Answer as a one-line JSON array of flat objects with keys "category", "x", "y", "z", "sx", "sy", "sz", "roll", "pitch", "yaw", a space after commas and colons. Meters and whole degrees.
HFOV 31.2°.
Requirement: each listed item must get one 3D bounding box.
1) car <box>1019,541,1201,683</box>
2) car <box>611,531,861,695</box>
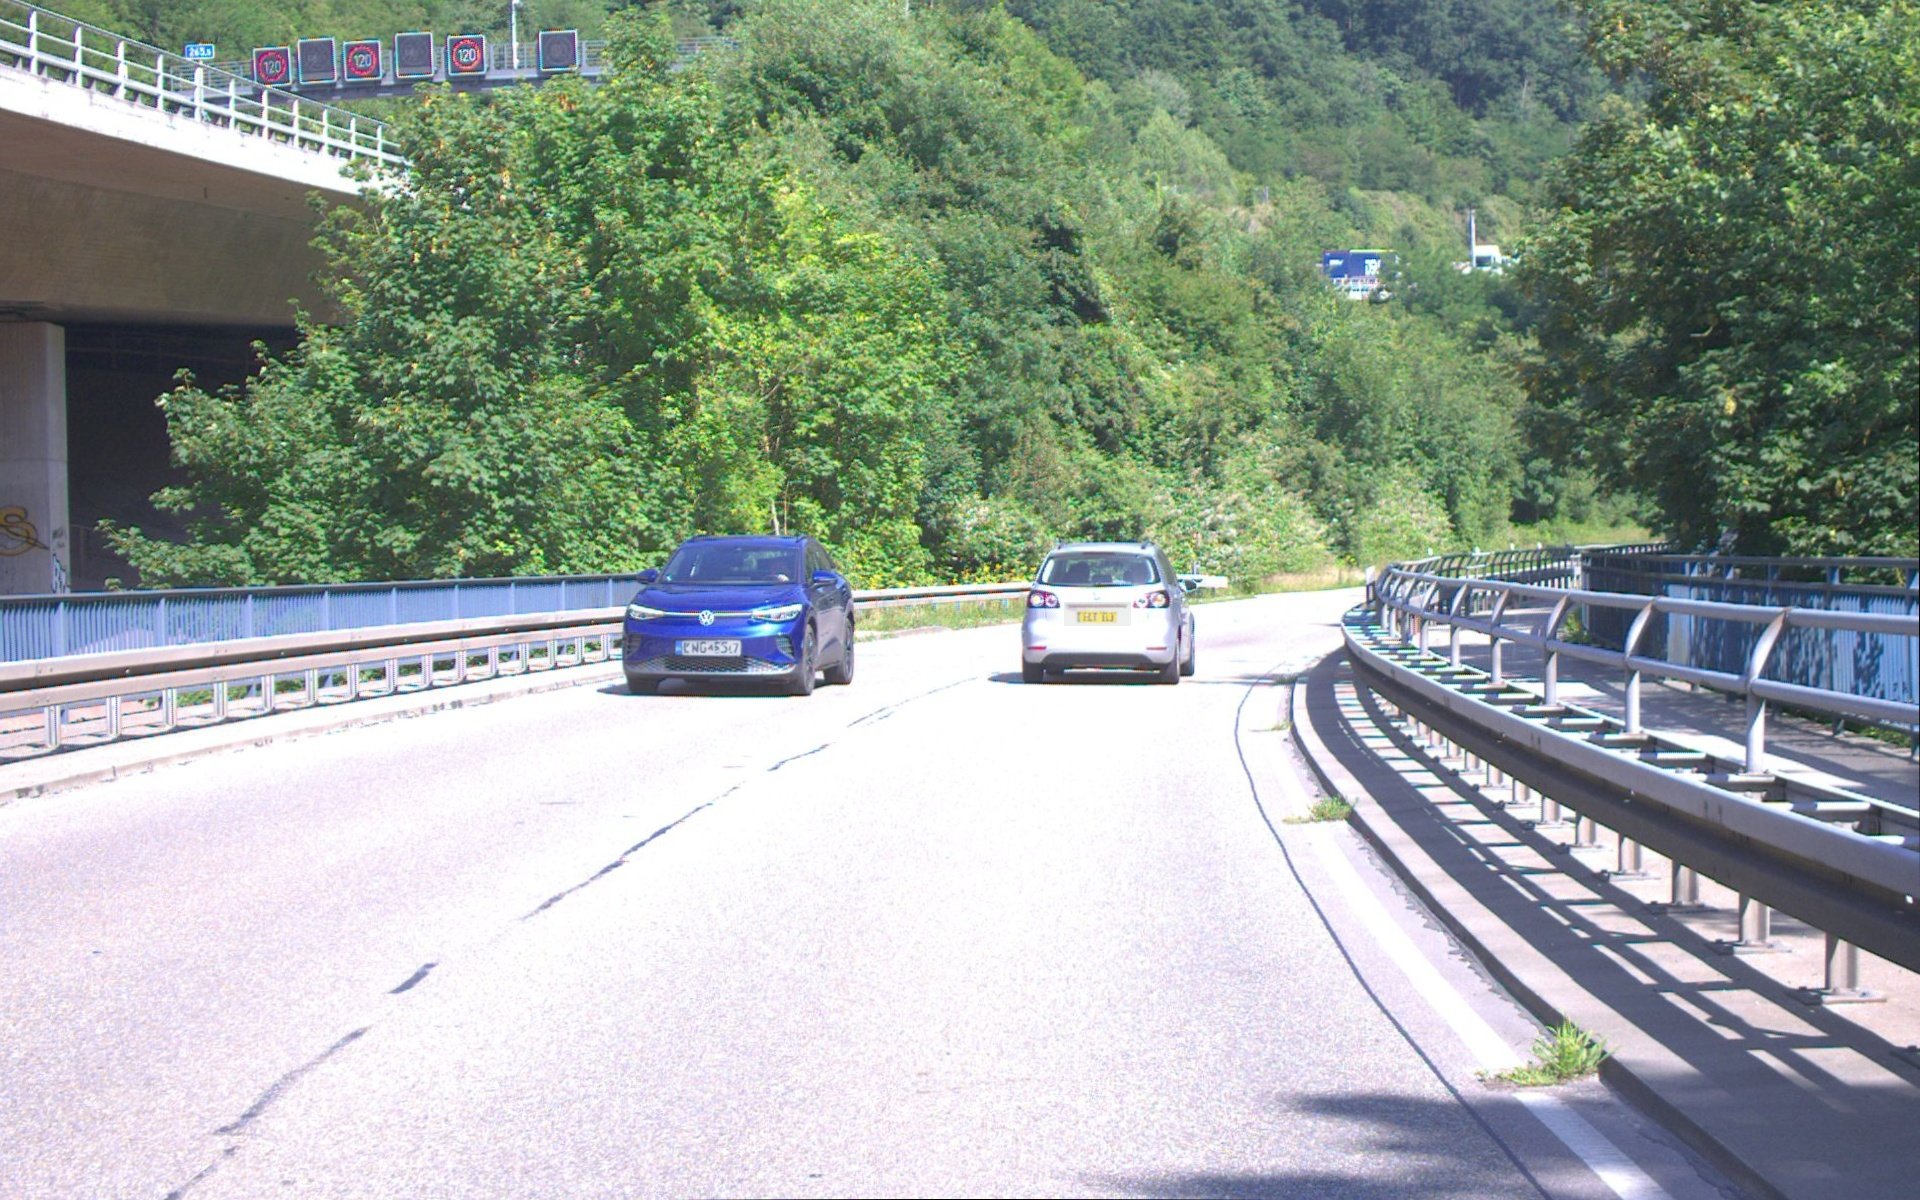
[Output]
[{"category": "car", "x": 1.754, "y": 0.108, "z": 39.082, "sx": 1.751, "sy": 1.515, "sz": 4.158, "roll": 0, "pitch": 0, "yaw": 7}, {"category": "car", "x": -2.257, "y": 0.094, "z": 35.843, "sx": 1.899, "sy": 1.575, "sz": 4.554, "roll": 1, "pitch": 1, "yaw": 5}]
